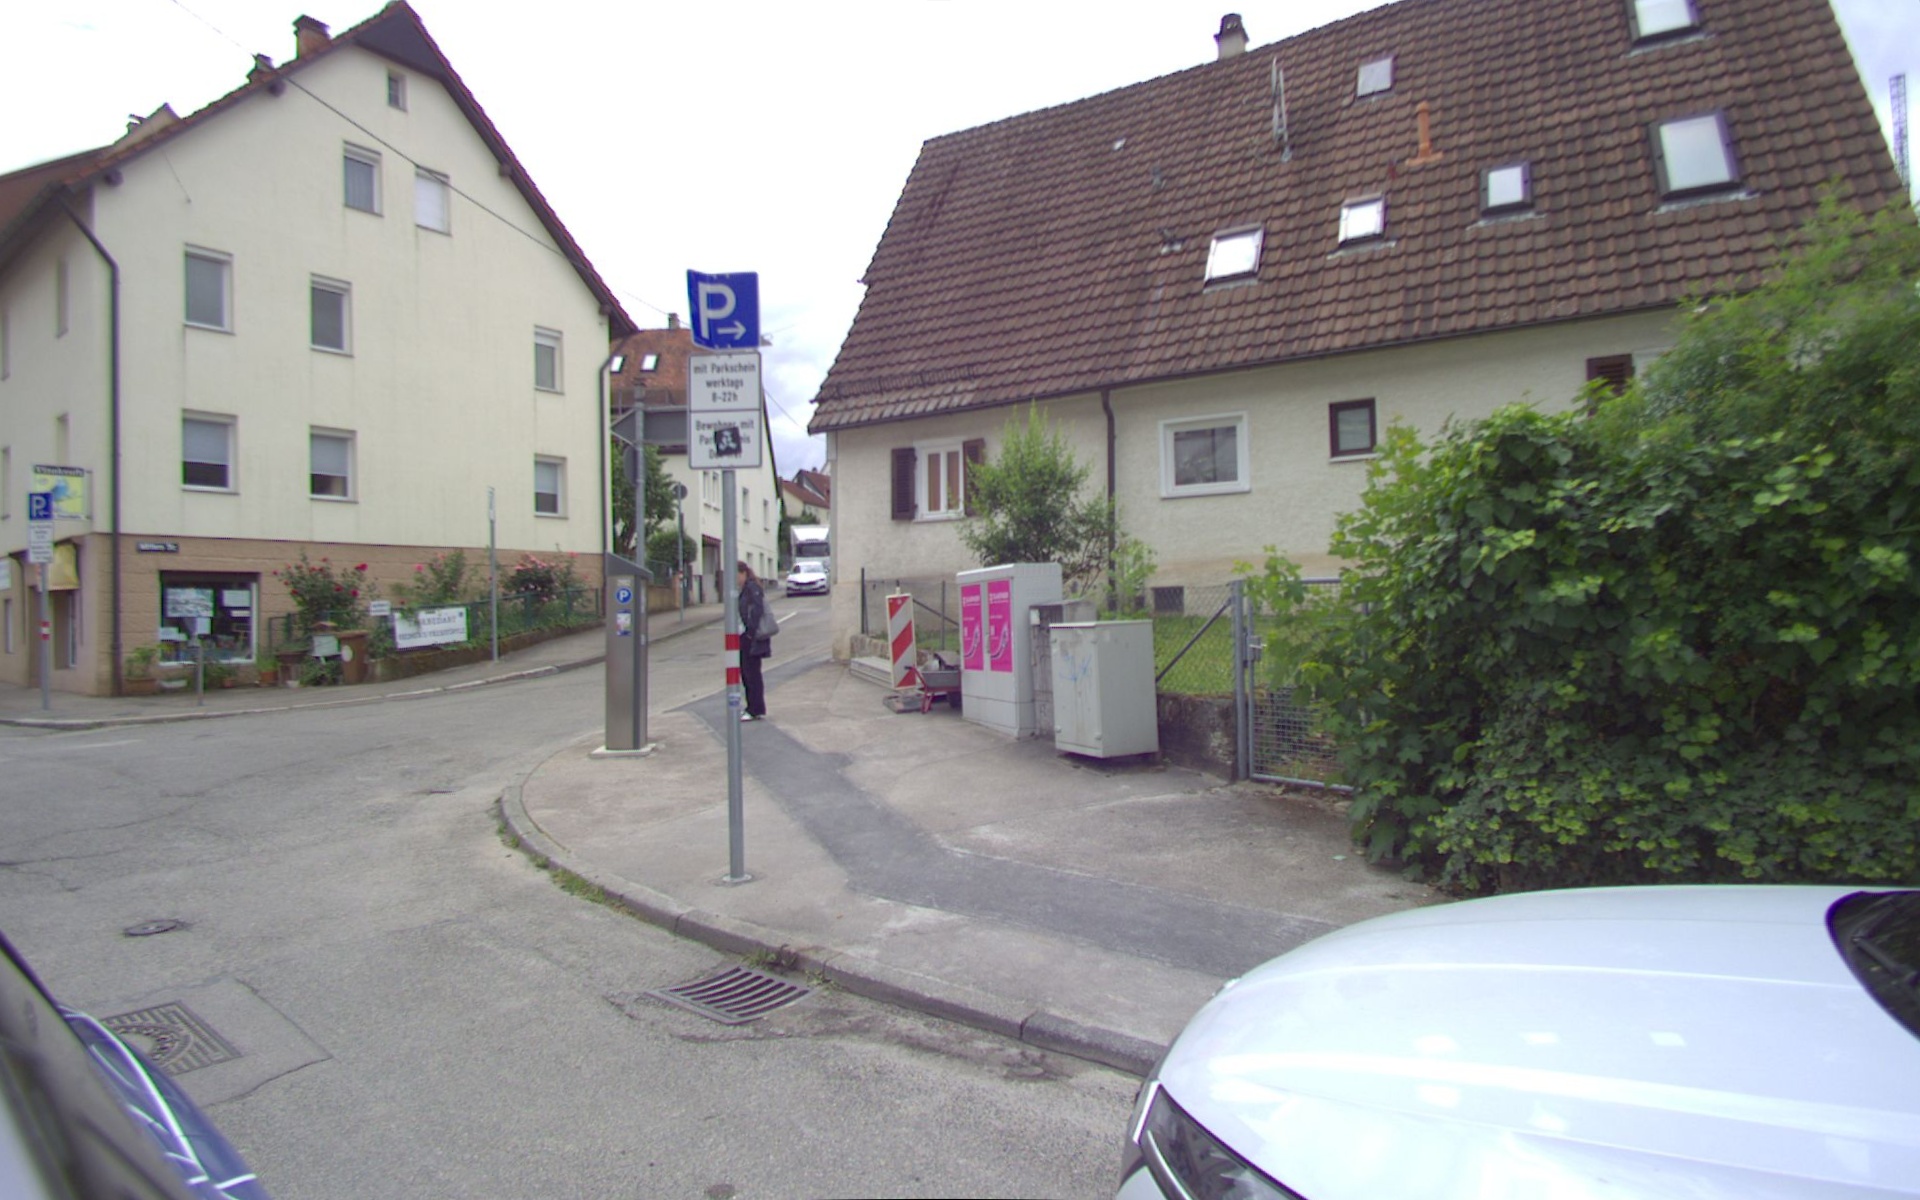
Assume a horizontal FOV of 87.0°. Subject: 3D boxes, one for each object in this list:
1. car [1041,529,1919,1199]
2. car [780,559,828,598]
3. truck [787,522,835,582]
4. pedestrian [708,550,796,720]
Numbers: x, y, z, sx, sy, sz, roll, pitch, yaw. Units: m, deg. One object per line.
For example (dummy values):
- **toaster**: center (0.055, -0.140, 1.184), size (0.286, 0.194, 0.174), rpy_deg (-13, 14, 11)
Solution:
- **car**: center (2.351, 0.681, 0.767), size (4.286, 1.472, 1.777), rpy_deg (-1, -2, 35)
- **car**: center (-6.849, -0.983, 44.886), size (1.773, 1.456, 4.304), rpy_deg (-4, 3, -5)
- **truck**: center (-10.152, -3.180, 68.341), size (2.641, 3.623, 8.124), rpy_deg (-3, 2, -10)
- **pedestrian**: center (-2.182, 0.348, 10.616), size (0.638, 1.697, 0.606), rpy_deg (-3, 2, -35)
